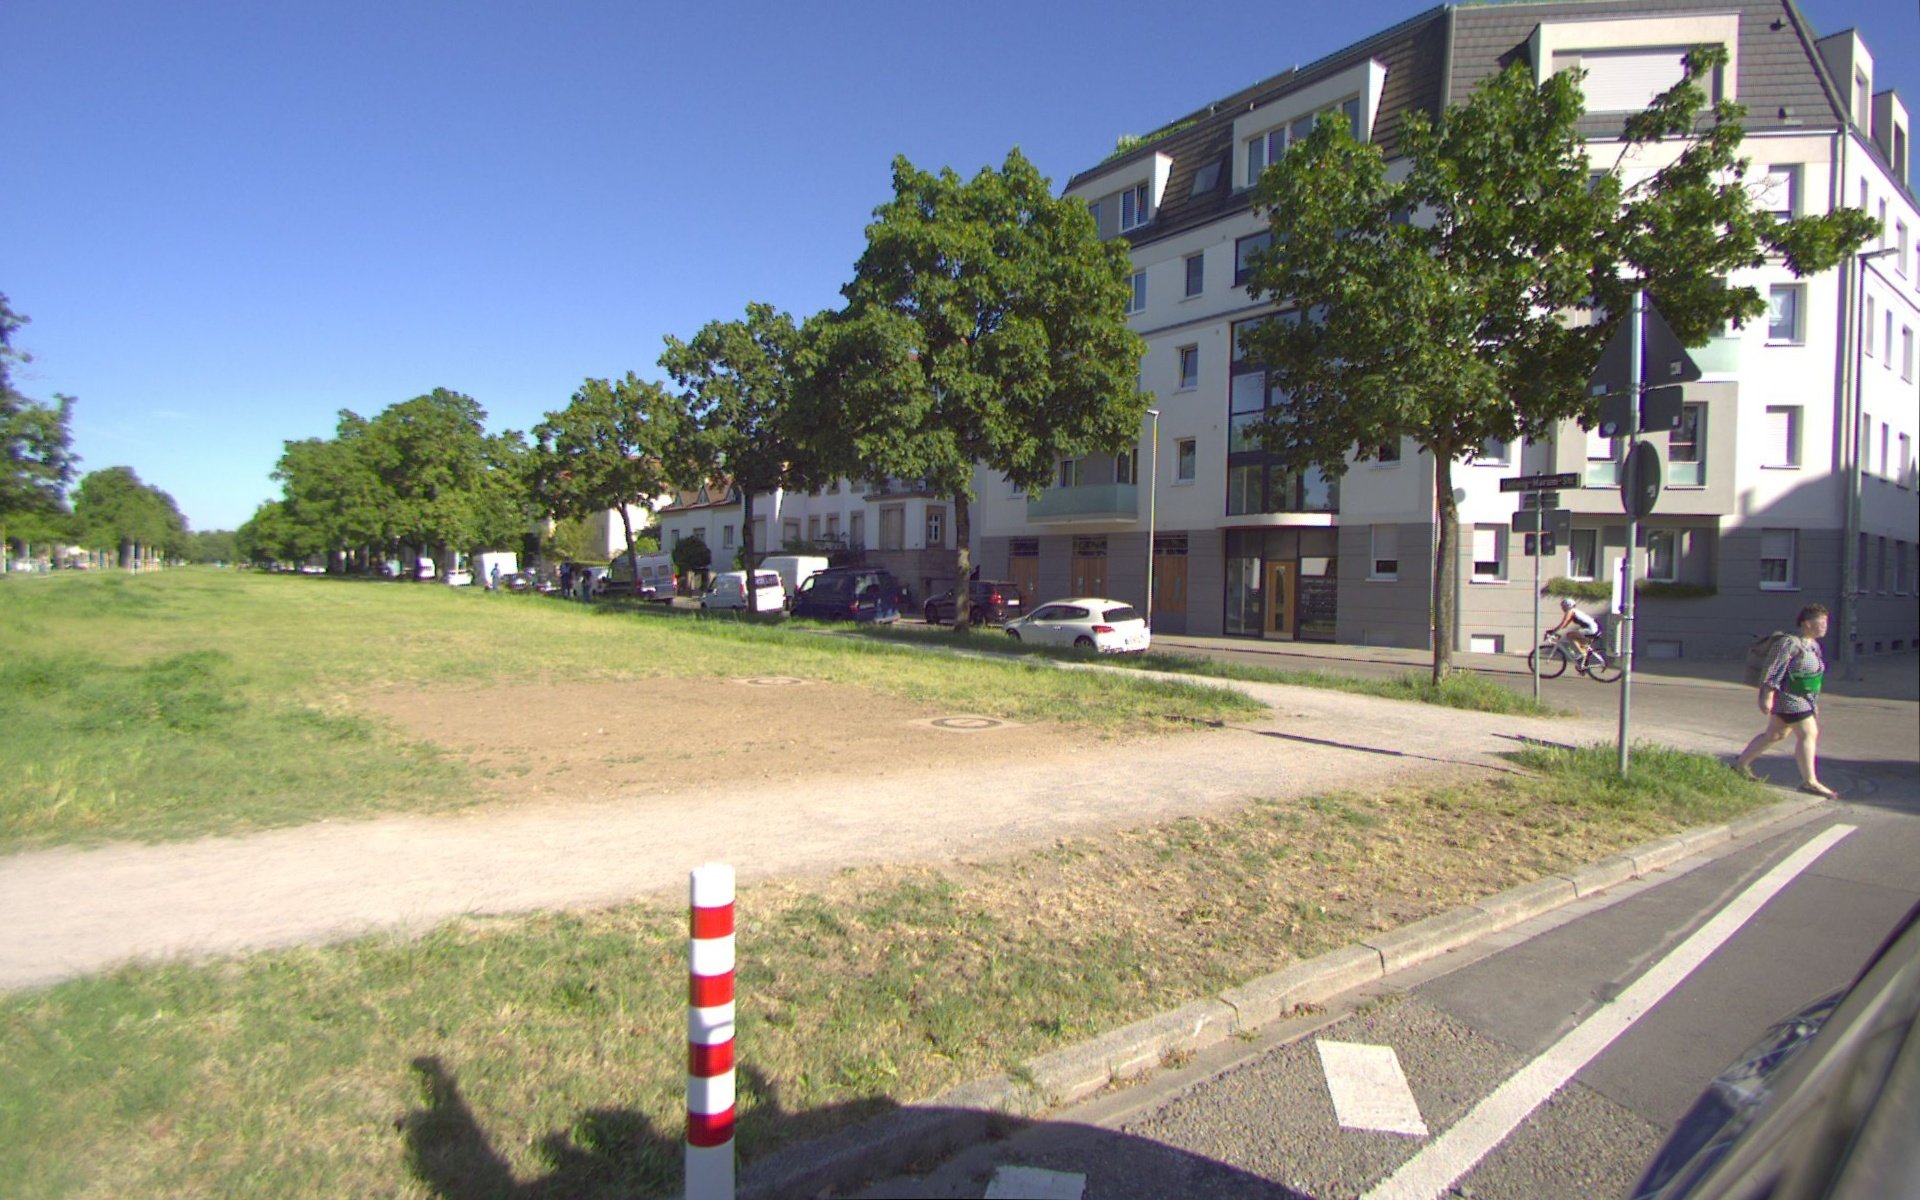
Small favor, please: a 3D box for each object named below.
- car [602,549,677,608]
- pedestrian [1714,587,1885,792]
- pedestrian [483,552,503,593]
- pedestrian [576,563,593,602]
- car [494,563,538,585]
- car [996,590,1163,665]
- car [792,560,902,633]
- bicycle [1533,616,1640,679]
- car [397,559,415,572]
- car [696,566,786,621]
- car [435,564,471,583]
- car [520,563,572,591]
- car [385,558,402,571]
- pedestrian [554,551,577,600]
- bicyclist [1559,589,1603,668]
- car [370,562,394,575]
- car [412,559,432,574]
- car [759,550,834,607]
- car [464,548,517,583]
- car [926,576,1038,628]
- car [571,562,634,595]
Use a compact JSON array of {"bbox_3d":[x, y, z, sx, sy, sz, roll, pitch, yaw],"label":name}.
[{"bbox_3d":[-15.438,-1.090,48.655,2.153,2.615,4.288,-4,4,-35],"label":"car"},{"bbox_3d":[7.457,0.745,9.065,1.083,1.695,0.902,-1,-1,36],"label":"pedestrian"},{"bbox_3d":[-22.036,-1.289,47.728,0.711,1.900,0.629,1,1,-38],"label":"pedestrian"},{"bbox_3d":[-14.970,-0.696,40.336,0.487,1.524,0.535,1,1,-37],"label":"pedestrian"},{"bbox_3d":[-30.427,-1.797,69.313,1.898,1.361,4.110,1,1,-36],"label":"car"},{"bbox_3d":[2.785,0.585,24.295,1.708,1.450,3.994,-4,4,-36],"label":"car"},{"bbox_3d":[-3.696,-0.187,32.620,1.751,2.108,3.995,-4,4,-35],"label":"car"},{"bbox_3d":[12.054,0.890,19.494,1.698,1.102,0.500,2,1,36],"label":"bicycle"},{"bbox_3d":[-79.711,-4.981,145.514,1.830,1.868,3.995,1,1,-36],"label":"car"},{"bbox_3d":[-8.557,-0.313,39.339,1.841,1.906,4.425,-4,4,-34],"label":"car"},{"bbox_3d":[-43.642,-2.278,87.027,2.042,1.484,4.728,1,1,-36],"label":"car"},{"bbox_3d":[-25.879,-1.455,63.196,2.046,1.618,4.288,1,1,-36],"label":"car"},{"bbox_3d":[-88.326,-5.556,157.720,1.830,1.868,3.995,1,1,-36],"label":"car"},{"bbox_3d":[-15.666,-0.977,40.183,0.632,1.900,0.629,1,1,-38],"label":"pedestrian"},{"bbox_3d":[11.985,0.531,19.543,0.682,1.482,0.492,2,1,33],"label":"bicyclist"},{"bbox_3d":[-70.488,-3.848,123.352,2.042,1.484,4.728,1,1,-36],"label":"car"},{"bbox_3d":[-71.724,-4.472,134.978,1.830,1.868,3.995,2,1,-36],"label":"car"},{"bbox_3d":[-7.838,-1.053,48.337,1.985,2.580,3.995,-1,2,-36],"label":"car"},{"bbox_3d":[-34.618,-2.544,74.516,2.503,2.363,5.920,1,1,-36],"label":"car"},{"bbox_3d":[0.733,0.009,36.629,1.861,1.703,4.289,-1,2,-36],"label":"car"},{"bbox_3d":[-19.239,-1.185,54.388,2.046,1.618,4.288,1,1,-36],"label":"car"}]
